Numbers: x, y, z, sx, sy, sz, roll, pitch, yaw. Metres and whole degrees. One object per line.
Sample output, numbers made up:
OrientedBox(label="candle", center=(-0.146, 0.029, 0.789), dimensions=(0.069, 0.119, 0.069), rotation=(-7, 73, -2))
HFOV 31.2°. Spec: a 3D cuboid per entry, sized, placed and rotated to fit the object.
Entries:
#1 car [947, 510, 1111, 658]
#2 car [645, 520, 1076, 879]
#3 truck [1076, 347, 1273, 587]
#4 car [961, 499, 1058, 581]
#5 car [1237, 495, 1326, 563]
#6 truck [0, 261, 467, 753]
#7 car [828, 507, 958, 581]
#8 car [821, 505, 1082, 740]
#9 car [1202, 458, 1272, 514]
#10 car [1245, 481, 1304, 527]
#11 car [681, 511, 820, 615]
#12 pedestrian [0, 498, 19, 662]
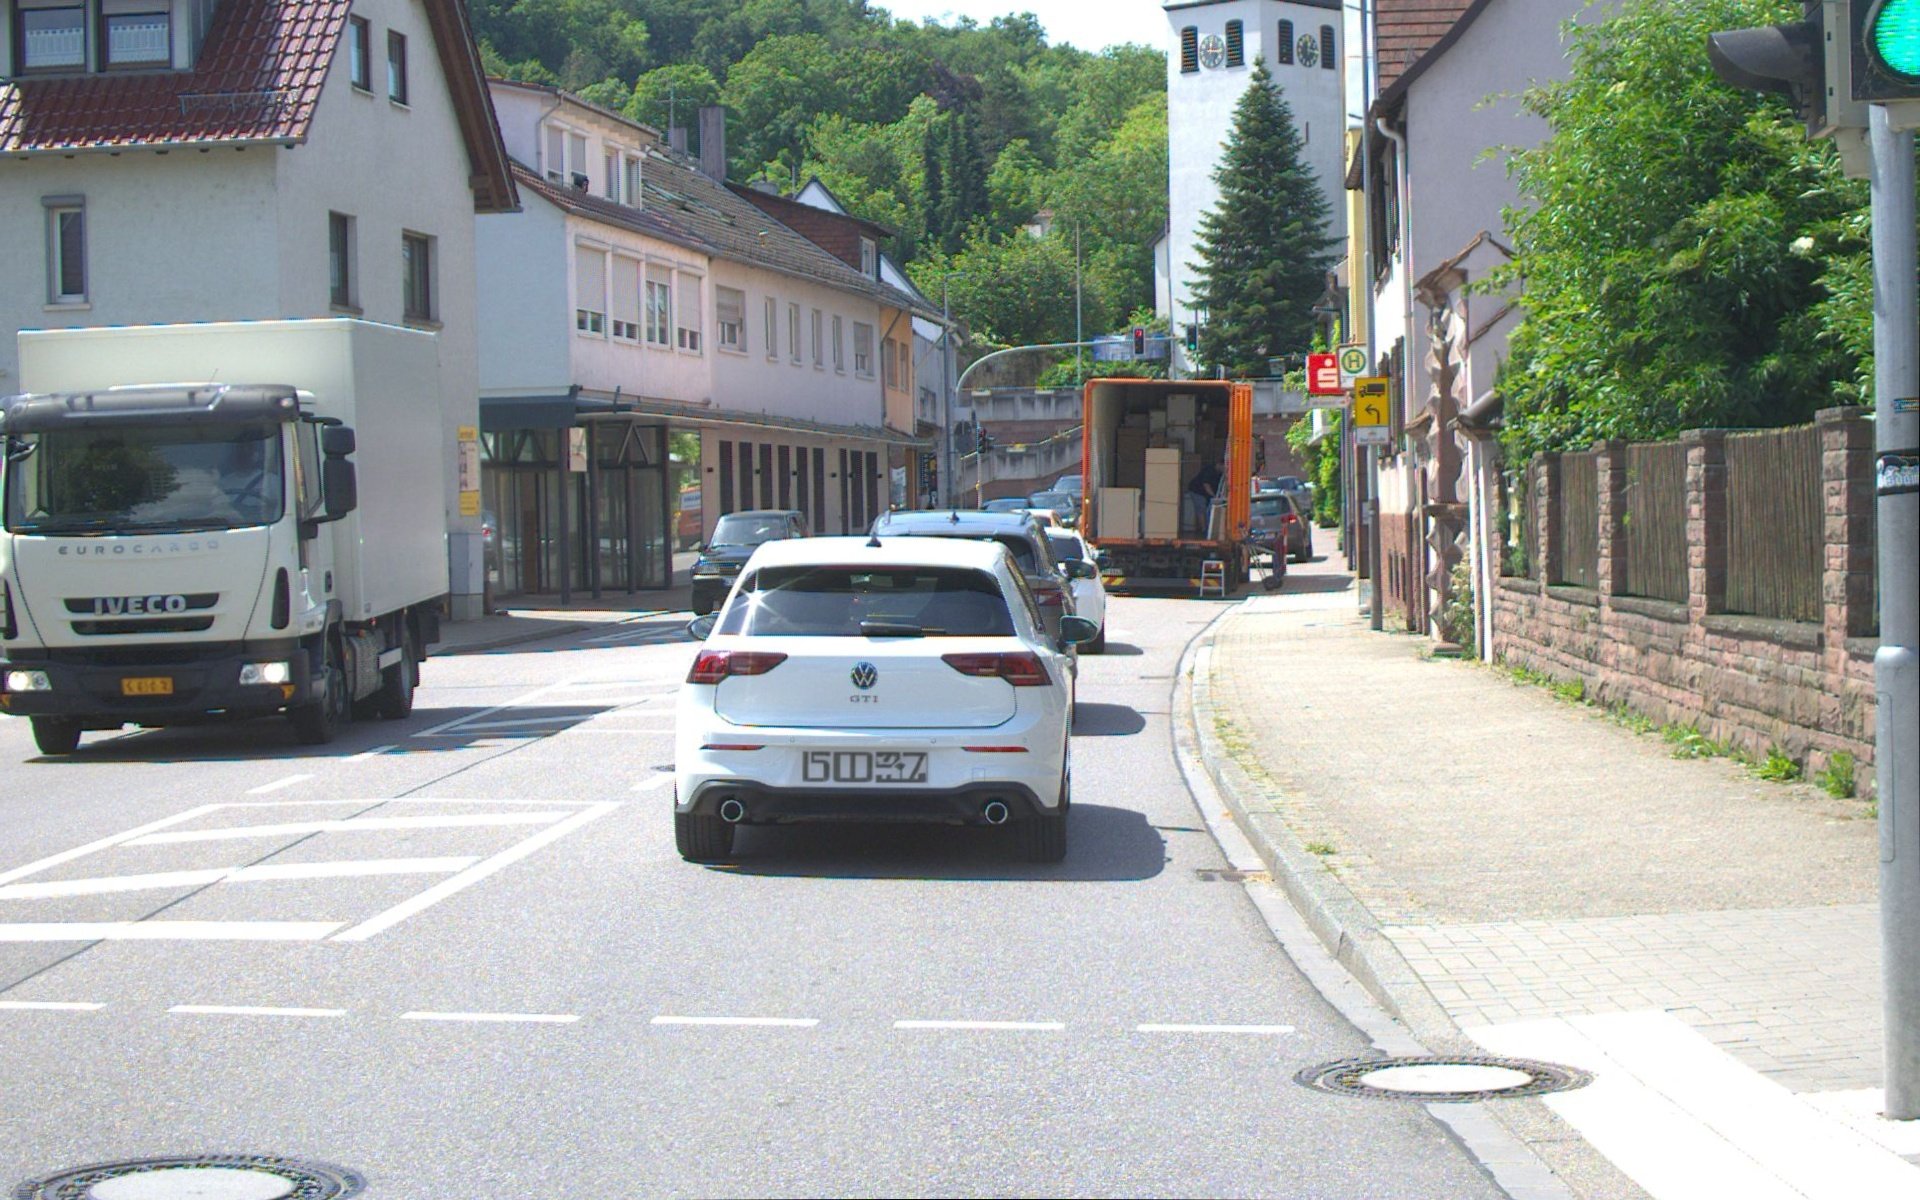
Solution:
OrientedBox(label="car", center=(0.856, -0.209, 41.211), dimensions=(1.815, 1.623, 4.000), rotation=(-2, 1, 2))
OrientedBox(label="car", center=(-0.357, 0.389, 16.548), dimensions=(1.815, 1.514, 4.000), rotation=(0, 1, 2))
OrientedBox(label="truck", center=(4.198, -2.455, 66.250), dimensions=(3.367, 4.155, 9.518), rotation=(-2, 1, 4))
OrientedBox(label="car", center=(1.026, -1.200, 69.017), dimensions=(1.815, 1.514, 4.000), rotation=(-2, 1, 2))
OrientedBox(label="car", center=(7.573, -1.673, 81.329), dimensions=(1.815, 1.514, 4.000), rotation=(-2, 1, 2))
OrientedBox(label="truck", center=(-5.547, -0.657, 26.092), dimensions=(2.502, 3.224, 6.040), rotation=(-2, 1, 1))
OrientedBox(label="car", center=(-1.362, -1.175, 71.829), dimensions=(1.864, 1.437, 4.215), rotation=(-2, 1, 11))
OrientedBox(label="car", center=(0.008, 0.133, 26.654), dimensions=(1.815, 1.623, 4.000), rotation=(-2, 1, 2))
OrientedBox(label="car", center=(8.067, -3.320, 100.518), dimensions=(1.815, 1.514, 4.000), rotation=(-2, 1, 2))
OrientedBox(label="car", center=(11.118, -3.372, 121.660), dimensions=(1.815, 1.514, 4.000), rotation=(-2, 1, 2))
OrientedBox(label="car", center=(-3.442, -0.637, 57.042), dimensions=(1.739, 1.645, 3.668), rotation=(-1, 1, 5))
OrientedBox(label="pedestrian", center=(-10.509, -0.209, 36.989), dimensions=(0.434, 1.758, 0.556), rotation=(-1, 2, 21))
